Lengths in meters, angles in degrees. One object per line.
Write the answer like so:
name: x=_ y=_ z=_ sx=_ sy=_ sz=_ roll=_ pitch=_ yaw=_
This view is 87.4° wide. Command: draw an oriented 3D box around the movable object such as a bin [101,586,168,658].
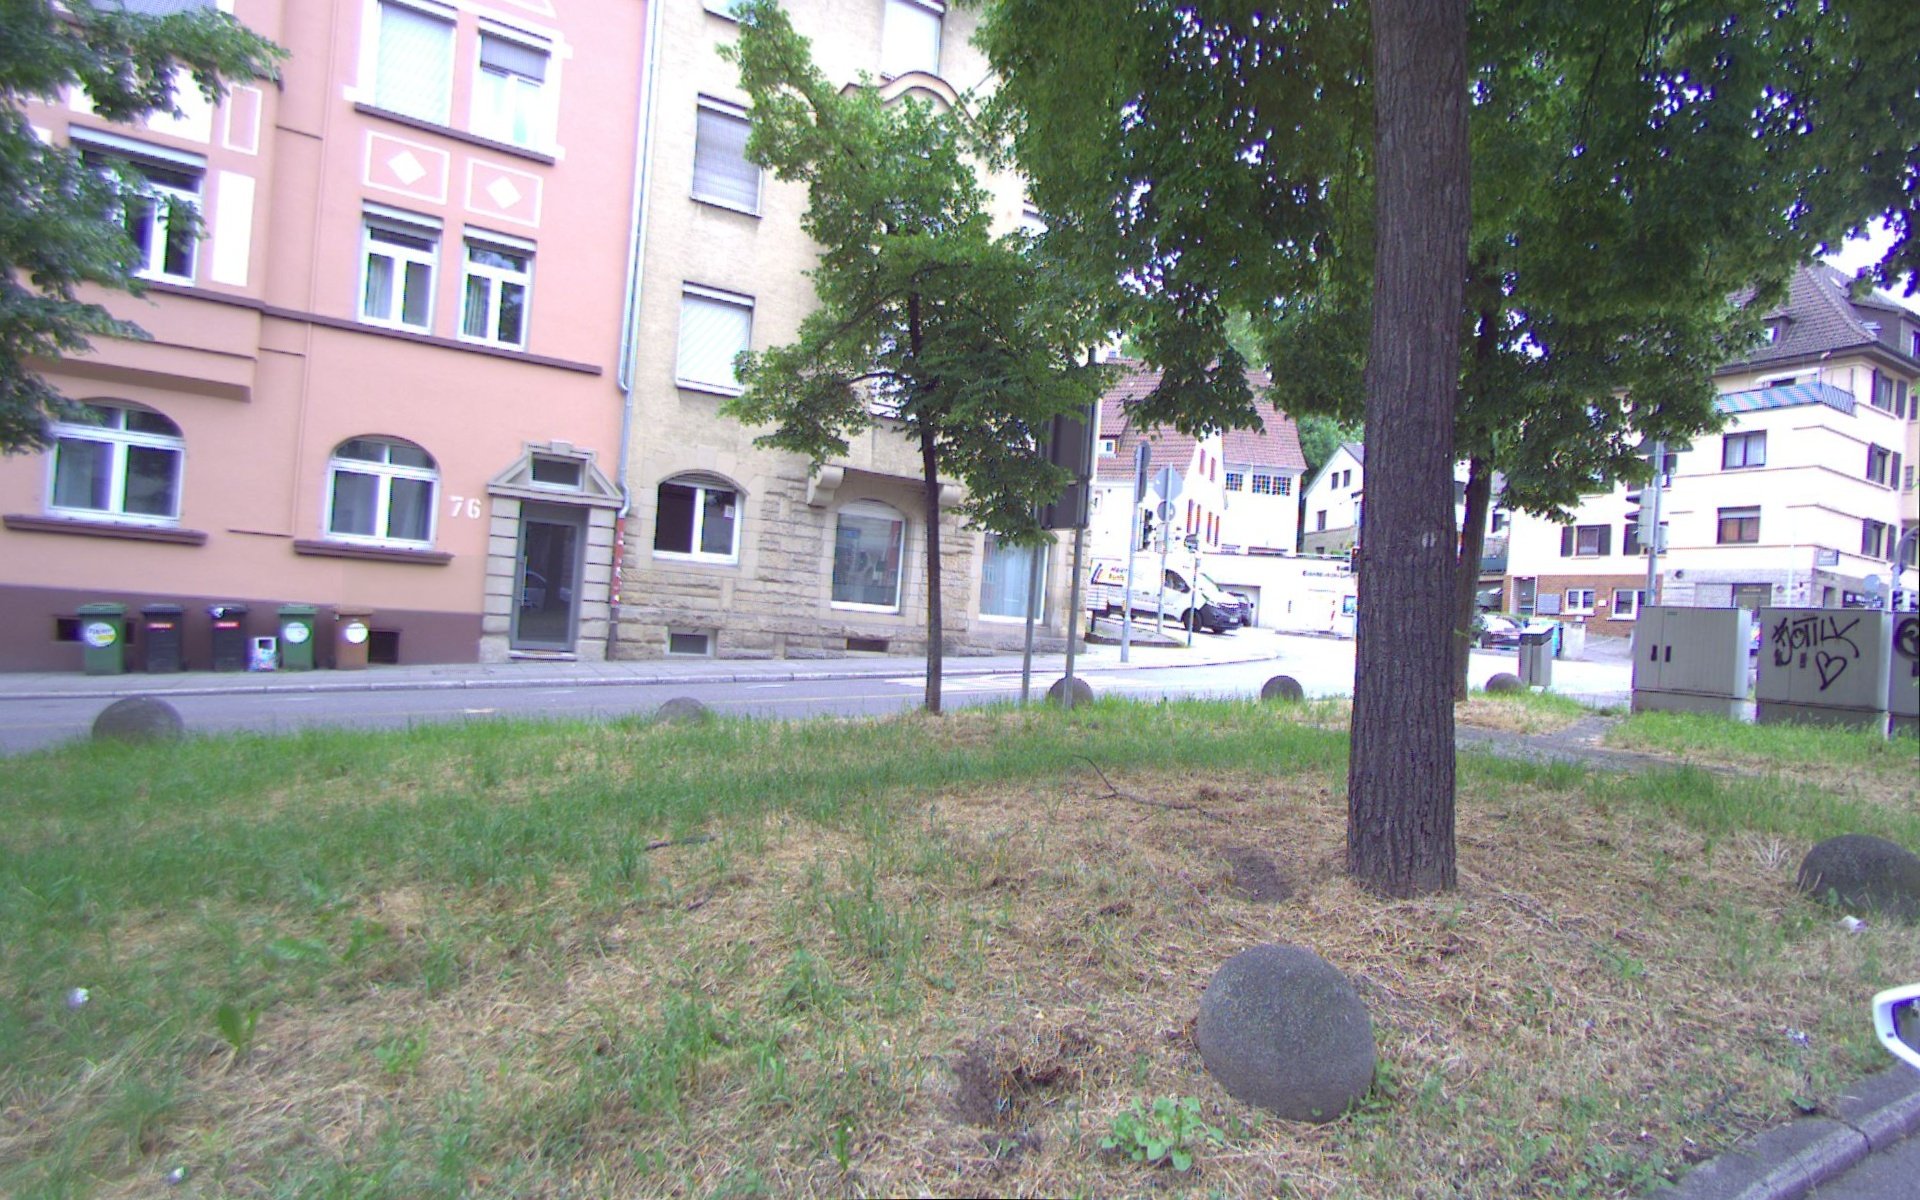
movable object such as a bin: x=-10.974 y=0.290 z=13.370 sx=0.595 sy=0.916 sz=0.605 roll=2 pitch=1 yaw=-33

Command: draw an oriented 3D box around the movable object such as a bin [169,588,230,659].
movable object such as a bin: x=-10.366 y=0.318 z=13.712 sx=0.595 sy=0.916 sz=0.605 roll=2 pitch=1 yaw=-33

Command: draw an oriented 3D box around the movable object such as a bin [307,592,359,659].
movable object such as a bin: x=-9.005 y=0.364 z=14.431 sx=0.595 sy=0.916 sz=0.605 roll=2 pitch=1 yaw=-33

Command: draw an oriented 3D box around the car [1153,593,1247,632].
car: x=10.672 y=0.533 z=44.637 sx=3.920 sy=1.530 sz=1.800 roll=2 pitch=0 yaw=18

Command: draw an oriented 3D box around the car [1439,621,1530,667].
car: x=21.621 y=1.782 z=41.556 sx=1.845 sy=1.687 sz=4.002 roll=3 pitch=-1 yaw=4

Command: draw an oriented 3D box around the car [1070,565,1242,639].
car: x=6.262 y=0.029 z=32.468 sx=5.110 sy=2.091 sz=1.985 roll=4 pitch=1 yaw=43

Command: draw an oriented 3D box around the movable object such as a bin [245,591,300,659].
movable object such as a bin: x=-9.647 y=0.351 z=14.101 sx=0.595 sy=0.916 sz=0.605 roll=2 pitch=1 yaw=-33

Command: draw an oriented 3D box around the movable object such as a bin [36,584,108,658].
movable object such as a bin: x=-11.494 y=0.265 z=13.019 sx=0.595 sy=0.916 sz=0.605 roll=2 pitch=1 yaw=-33
